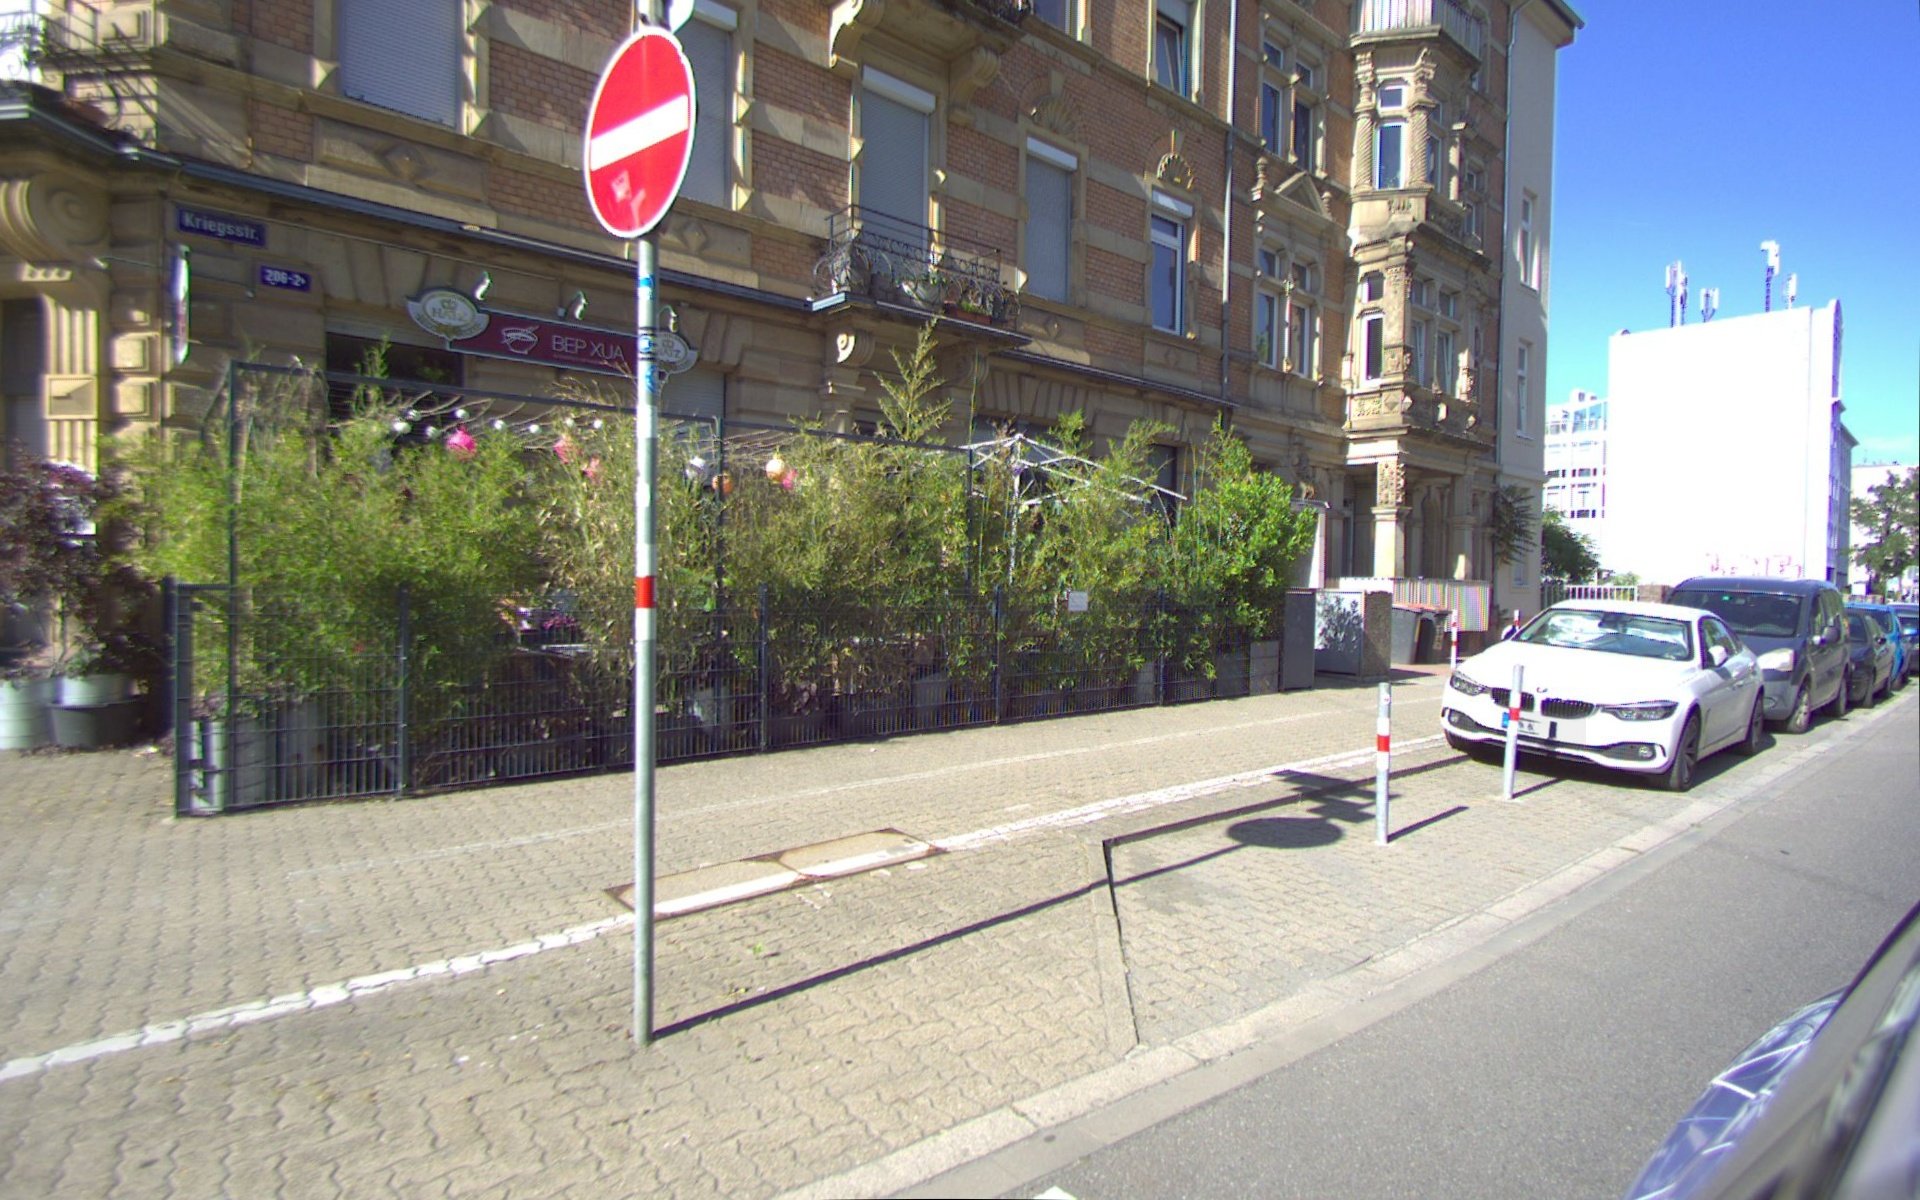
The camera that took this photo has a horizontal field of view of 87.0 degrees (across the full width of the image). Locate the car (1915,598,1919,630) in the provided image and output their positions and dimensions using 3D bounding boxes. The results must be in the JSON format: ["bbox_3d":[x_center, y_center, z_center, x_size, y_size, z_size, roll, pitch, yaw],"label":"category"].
[{"bbox_3d":[38.239,0.604,39.155,3.836,1.197,1.670,0,4,-44],"label":"car"}]

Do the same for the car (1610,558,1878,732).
[{"bbox_3d":[10.108,0.462,12.928,4.286,1.867,1.823,0,1,-40],"label":"car"}]

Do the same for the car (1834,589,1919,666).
[{"bbox_3d":[20.856,0.568,22.346,4.409,1.538,1.937,0,1,-44],"label":"car"}]

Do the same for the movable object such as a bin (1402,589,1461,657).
[{"bbox_3d":[8.487,0.404,18.230,0.598,1.171,0.760,-3,2,-40],"label":"movable object such as a bin"}]

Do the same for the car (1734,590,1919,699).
[{"bbox_3d":[13.679,0.612,15.797,4.198,1.486,1.671,0,0,-40],"label":"car"}]

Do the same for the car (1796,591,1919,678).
[{"bbox_3d":[17.055,0.638,19.041,3.243,1.490,1.622,1,-3,-43],"label":"car"}]

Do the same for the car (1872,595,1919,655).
[{"bbox_3d":[24.172,0.609,25.376,3.712,1.411,1.670,0,1,-44],"label":"car"}]

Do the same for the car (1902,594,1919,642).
[{"bbox_3d":[31.393,0.602,32.330,3.597,1.463,1.611,0,4,-44],"label":"car"}]

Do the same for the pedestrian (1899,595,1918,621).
[{"bbox_3d":[56.886,0.474,60.698,0.881,1.603,0.744,0,0,-43],"label":"pedestrian"}]

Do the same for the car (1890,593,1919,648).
[{"bbox_3d":[28.362,0.590,29.552,1.668,1.538,3.603,2,1,44],"label":"car"}]

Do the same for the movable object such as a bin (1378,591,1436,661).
[{"bbox_3d":[7.819,0.442,17.698,0.598,1.171,0.723,-3,2,-40],"label":"movable object such as a bin"}]

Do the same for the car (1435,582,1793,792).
[{"bbox_3d":[6.183,0.623,9.372,4.133,1.442,1.713,0,3,-42],"label":"car"}]
